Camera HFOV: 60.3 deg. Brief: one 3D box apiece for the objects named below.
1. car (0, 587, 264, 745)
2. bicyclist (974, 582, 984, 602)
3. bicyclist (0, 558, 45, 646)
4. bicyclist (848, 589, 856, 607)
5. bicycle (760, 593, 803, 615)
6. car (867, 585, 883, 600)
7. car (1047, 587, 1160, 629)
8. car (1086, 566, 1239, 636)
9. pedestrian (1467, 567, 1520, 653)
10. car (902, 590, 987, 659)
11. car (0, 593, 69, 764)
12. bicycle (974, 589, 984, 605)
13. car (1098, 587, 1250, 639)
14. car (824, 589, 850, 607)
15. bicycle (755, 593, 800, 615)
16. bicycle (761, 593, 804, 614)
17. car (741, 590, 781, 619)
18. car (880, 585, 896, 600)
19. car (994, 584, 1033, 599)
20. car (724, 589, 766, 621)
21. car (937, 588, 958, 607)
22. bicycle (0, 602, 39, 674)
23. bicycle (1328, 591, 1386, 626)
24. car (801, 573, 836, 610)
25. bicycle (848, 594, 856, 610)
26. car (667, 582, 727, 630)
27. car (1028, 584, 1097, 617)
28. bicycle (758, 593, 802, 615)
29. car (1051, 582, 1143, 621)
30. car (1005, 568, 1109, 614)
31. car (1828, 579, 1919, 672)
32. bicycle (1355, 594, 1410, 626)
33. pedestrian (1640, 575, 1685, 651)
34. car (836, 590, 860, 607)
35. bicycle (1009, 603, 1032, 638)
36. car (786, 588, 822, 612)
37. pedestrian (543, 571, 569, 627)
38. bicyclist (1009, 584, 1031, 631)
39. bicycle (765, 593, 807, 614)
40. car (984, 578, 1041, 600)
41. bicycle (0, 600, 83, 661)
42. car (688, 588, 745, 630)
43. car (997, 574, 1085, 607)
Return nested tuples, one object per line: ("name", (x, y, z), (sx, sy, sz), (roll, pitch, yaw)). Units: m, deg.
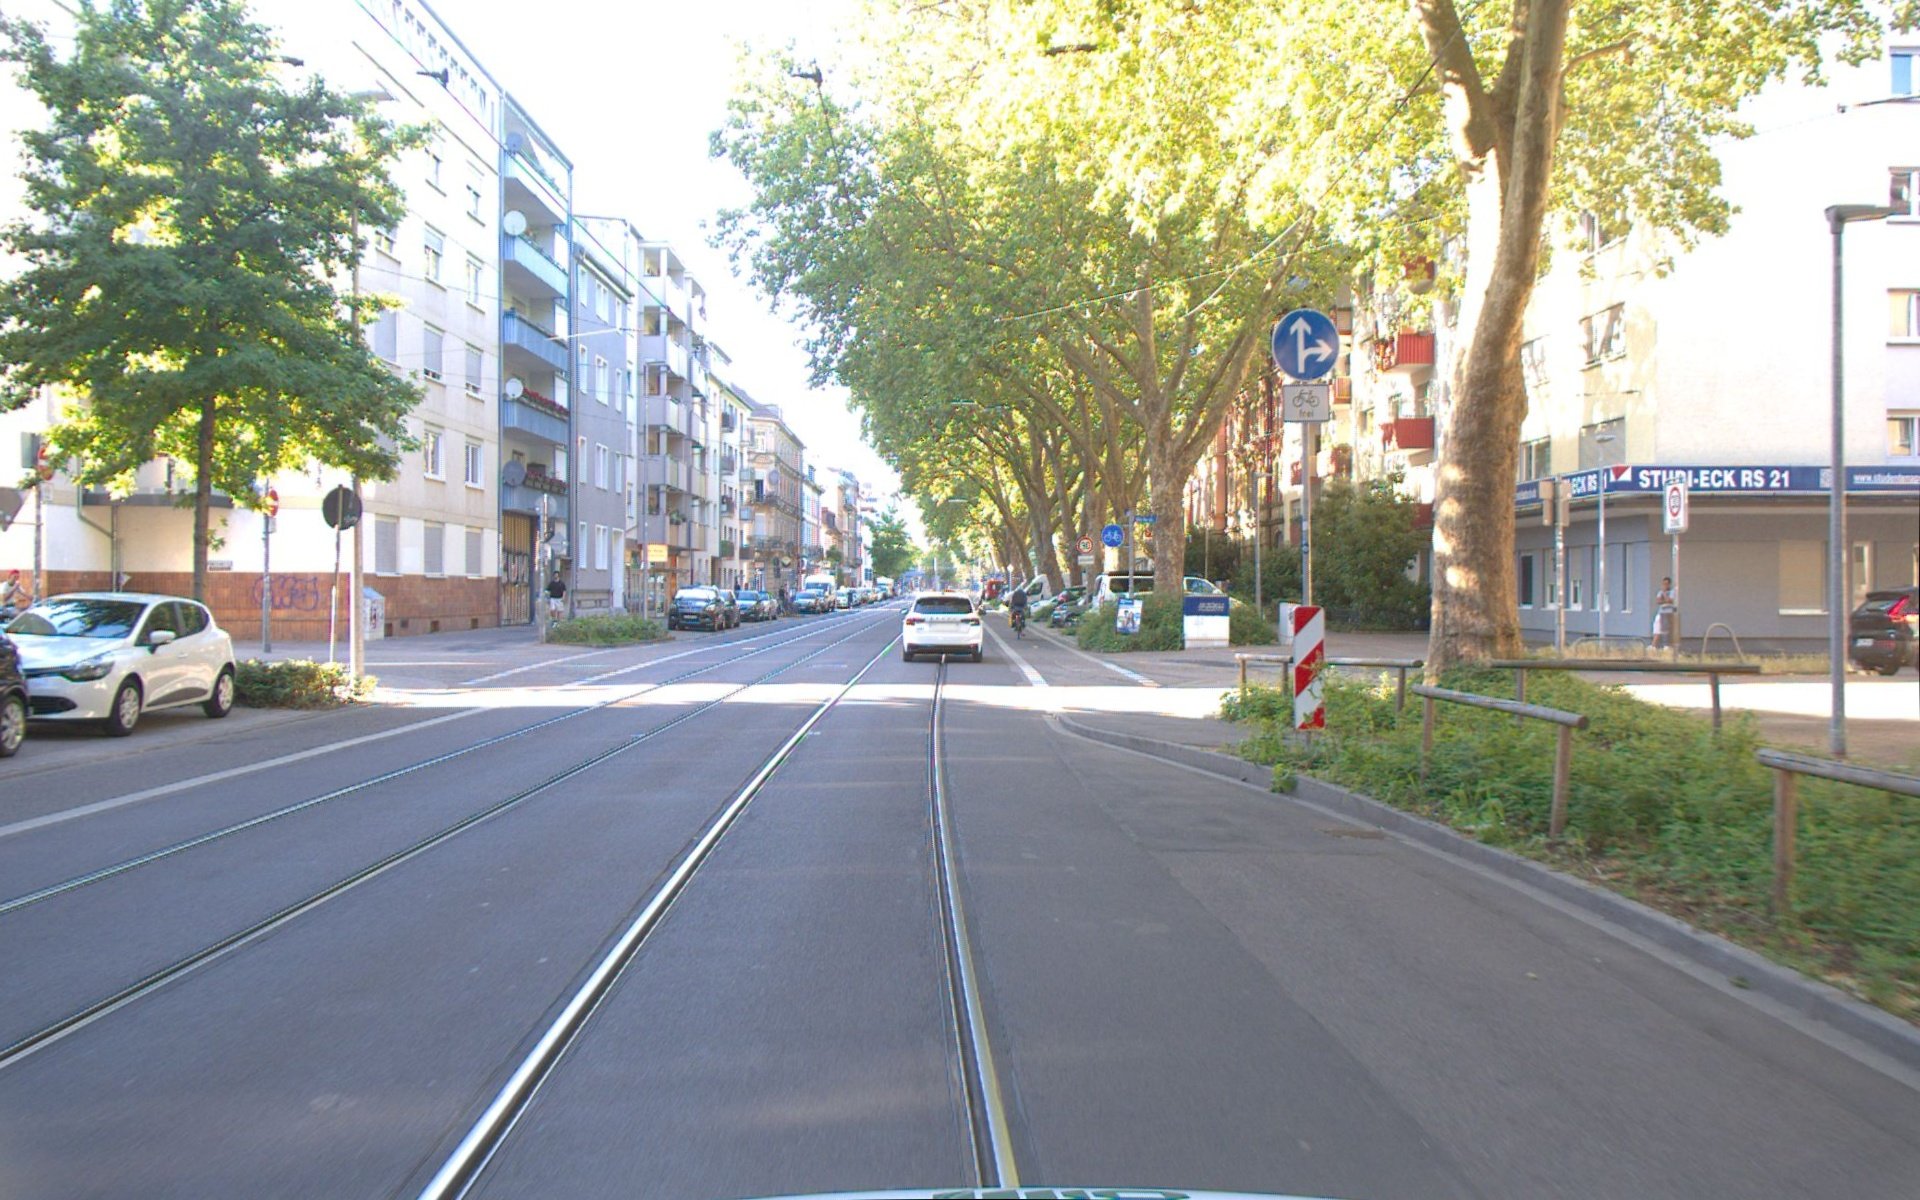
("car", (-9.470, 0.648, 18.553), (1.680, 1.489, 4.373), (3, 0, -4))
("bicyclist", (1.367, -0.561, 117.401), (0.636, 1.367, 0.934), (0, 0, -2))
("bicyclist", (-19.031, 0.029, 33.142), (0.853, 1.734, 0.908), (0, 0, 2))
("bicyclist", (-7.935, -0.150, 121.632), (0.585, 1.308, 0.916), (0, 0, -3))
("bicycle", (-10.548, 0.216, 97.638), (2.476, 1.193, 0.718), (2, -1, -6))
("car", (-12.068, -1.027, 235.343), (1.953, 2.049, 4.000), (1, 0, 0))
("car", (5.377, 0.288, 62.420), (4.059, 1.540, 1.930), (0, 0, -2))
("car", (6.235, 0.017, 51.216), (4.453, 2.113, 2.000), (0, 0, -3))
("pedestrian", (11.960, 0.220, 37.117), (0.751, 1.899, 1.187), (0, 0, -4))
("car", (-0.372, 0.486, 35.820), (1.726, 1.408, 3.999), (0, 0, -2))
("car", (-9.242, 0.671, 13.897), (1.681, 1.489, 3.994), (3, 0, -7))
("bicycle", (1.375, -0.229, 117.384), (0.636, 1.089, 1.582), (0, 0, -2))
("car", (6.266, 0.361, 48.639), (4.210, 1.505, 1.830), (0, 0, -2))
("car", (-10.387, -0.176, 139.955), (1.953, 1.557, 4.000), (0, 0, 0))
("bicycle", (-10.582, 0.222, 95.869), (2.509, 1.193, 0.870), (3, -2, -41))
("bicycle", (-10.579, 0.207, 98.626), (2.476, 1.193, 0.718), (2, -1, -6))
("car", (-10.125, 0.230, 84.508), (1.454, 1.428, 3.991), (0, 0, 2))
("car", (-9.722, -1.020, 223.543), (1.953, 2.049, 4.000), (0, 0, 0))
("car", (5.571, -0.917, 172.352), (3.967, 1.567, 2.000), (0, 0, -1))
("car", (-10.211, 0.235, 78.577), (1.620, 1.462, 3.835), (0, 0, -2))
("car", (-1.003, -0.221, 139.280), (1.725, 1.501, 4.000), (0, 0, 0))
("bicycle", (-16.606, 0.662, 27.963), (1.903, 1.177, 0.572), (-2, 0, 13))
("bicycle", (14.106, 0.311, 58.769), (1.908, 1.177, 0.571), (-2, 0, -8))
("car", (-10.176, -0.597, 119.628), (2.134, 2.642, 4.948), (0, 0, 0))
("bicycle", (-7.938, 0.143, 121.618), (0.593, 1.089, 1.582), (0, 0, -3))
("car", (-9.998, 0.200, 63.098), (1.668, 1.679, 4.240), (2, 0, -2))
("car", (5.307, 0.022, 85.946), (3.559, 1.695, 1.822), (0, 0, 2))
("bicycle", (-10.527, 0.221, 96.752), (2.476, 1.193, 0.718), (2, -1, -7))
("car", (6.072, 0.063, 73.342), (3.906, 1.709, 1.723), (0, 0, -2))
("car", (5.720, -0.515, 98.202), (6.007, 2.681, 2.528), (0, 0, -2))
("car", (18.176, 0.441, 29.839), (4.050, 1.621, 1.998), (0, 0, -5))
("bicycle", (15.002, 0.339, 58.712), (1.756, 1.060, 0.617), (-2, 0, -5))
("pedestrian", (15.629, 0.277, 36.794), (0.731, 1.673, 0.666), (0, 0, 1))
("car", (-10.378, -0.148, 153.917), (1.953, 1.557, 4.000), (0, 0, 0))
("bicycle", (1.904, 0.637, 52.250), (0.667, 1.089, 1.781), (0, 0, 0))
("car", (-10.152, -0.026, 107.905), (1.953, 1.557, 4.000), (0, 0, 0))
("pedestrian", (-13.644, -0.030, 55.903), (0.650, 1.858, 0.965), (0, 0, -2))
("bicyclist", (1.904, 0.234, 52.368), (0.664, 1.468, 1.047), (0, 0, 0))
("bicycle", (-10.590, 0.202, 100.530), (2.476, 1.193, 0.718), (2, -1, -7))
("car", (5.590, -1.220, 177.044), (6.007, 2.322, 2.528), (0, 0, -2))
("bicycle", (-19.168, 0.592, 33.128), (2.737, 1.177, 0.922), (0, 0, 2))
("car", (-9.982, 0.348, 68.084), (1.667, 1.571, 4.241), (2, 0, 0))
("car", (5.713, -0.683, 116.822), (6.007, 2.322, 2.528), (0, 0, -2))
